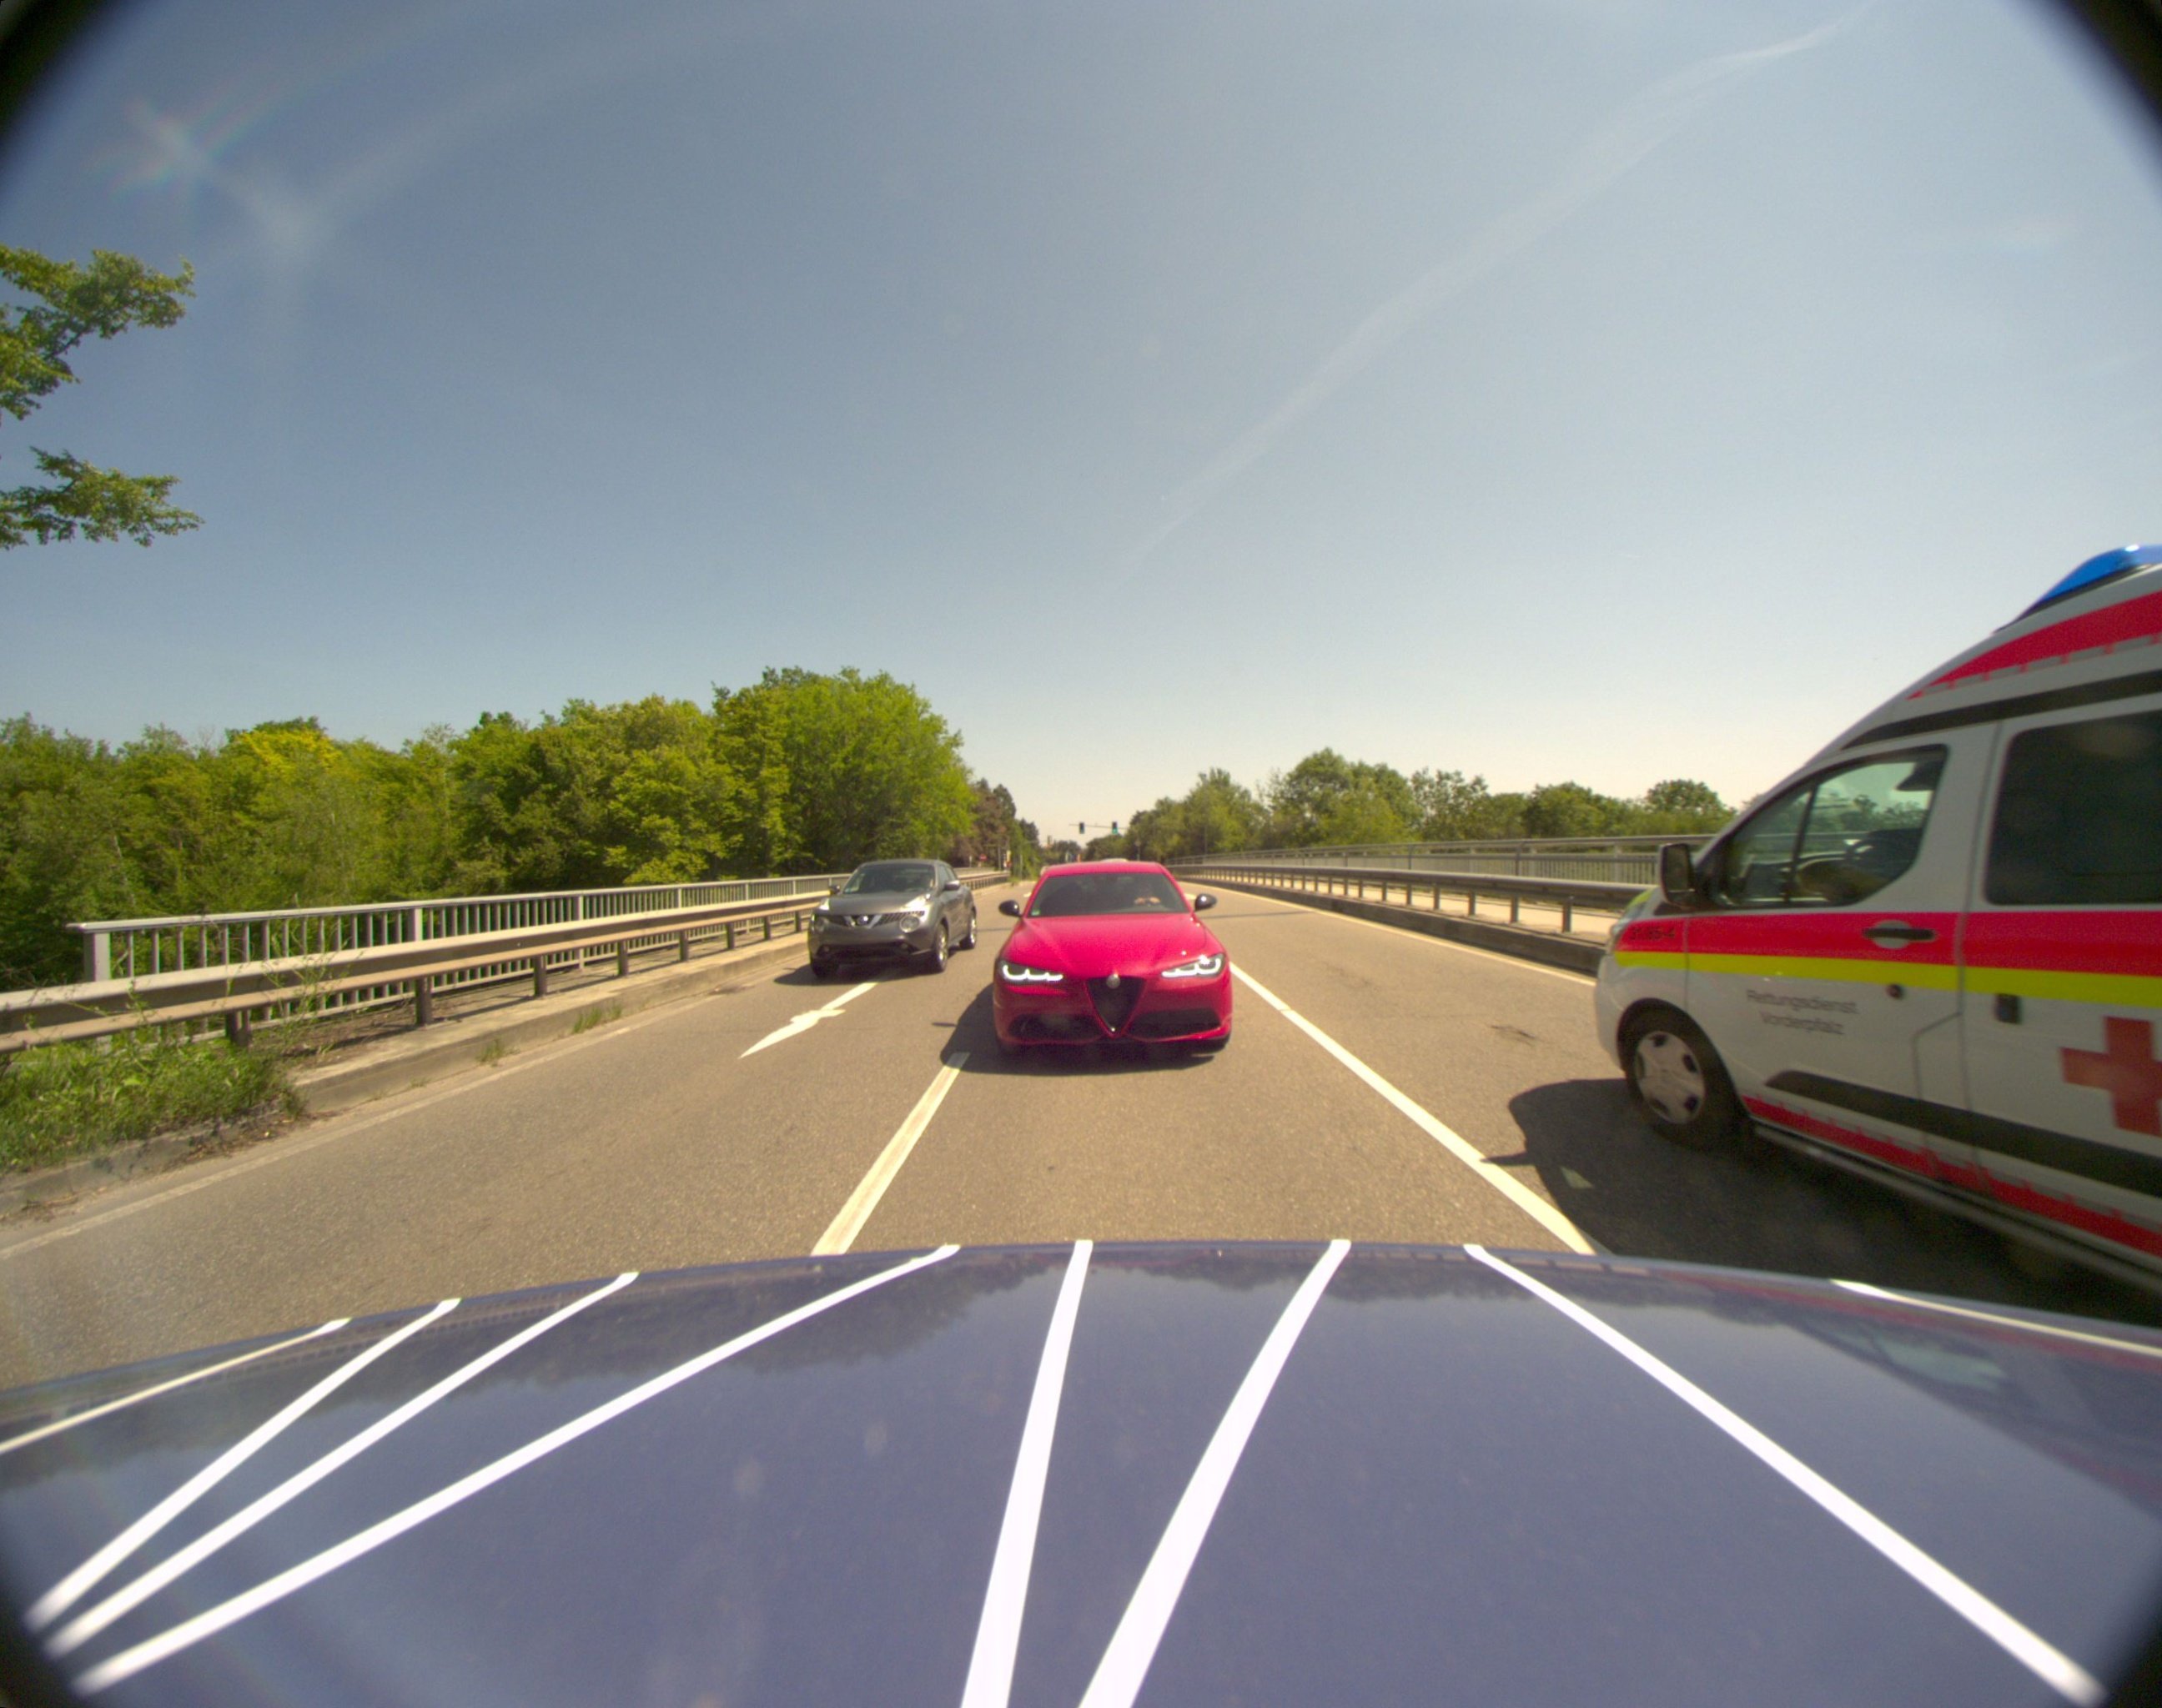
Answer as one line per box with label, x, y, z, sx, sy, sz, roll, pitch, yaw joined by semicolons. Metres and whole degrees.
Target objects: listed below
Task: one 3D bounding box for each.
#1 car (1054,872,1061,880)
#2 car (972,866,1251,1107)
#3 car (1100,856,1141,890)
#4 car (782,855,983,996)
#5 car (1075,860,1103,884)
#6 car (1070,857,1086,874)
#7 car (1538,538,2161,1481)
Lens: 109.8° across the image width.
car;-5.314;4.902;169.768;1.416;1.499;3.316;-1;1;0
car;0.234;0.911;7.146;1.800;1.448;4.285;-2;0;1
car;1.854;0.880;36.469;1.800;1.448;3.706;-2;0;2
car;-2.703;0.886;11.370;1.848;1.675;4.000;-2;0;1
car;0.518;1.093;48.318;1.647;1.373;3.938;-2;0;1
car;-0.351;1.231;82.251;1.633;1.667;3.489;-2;1;1
car;3.676;0.366;1.863;1.995;2.354;5.181;-2;0;1
